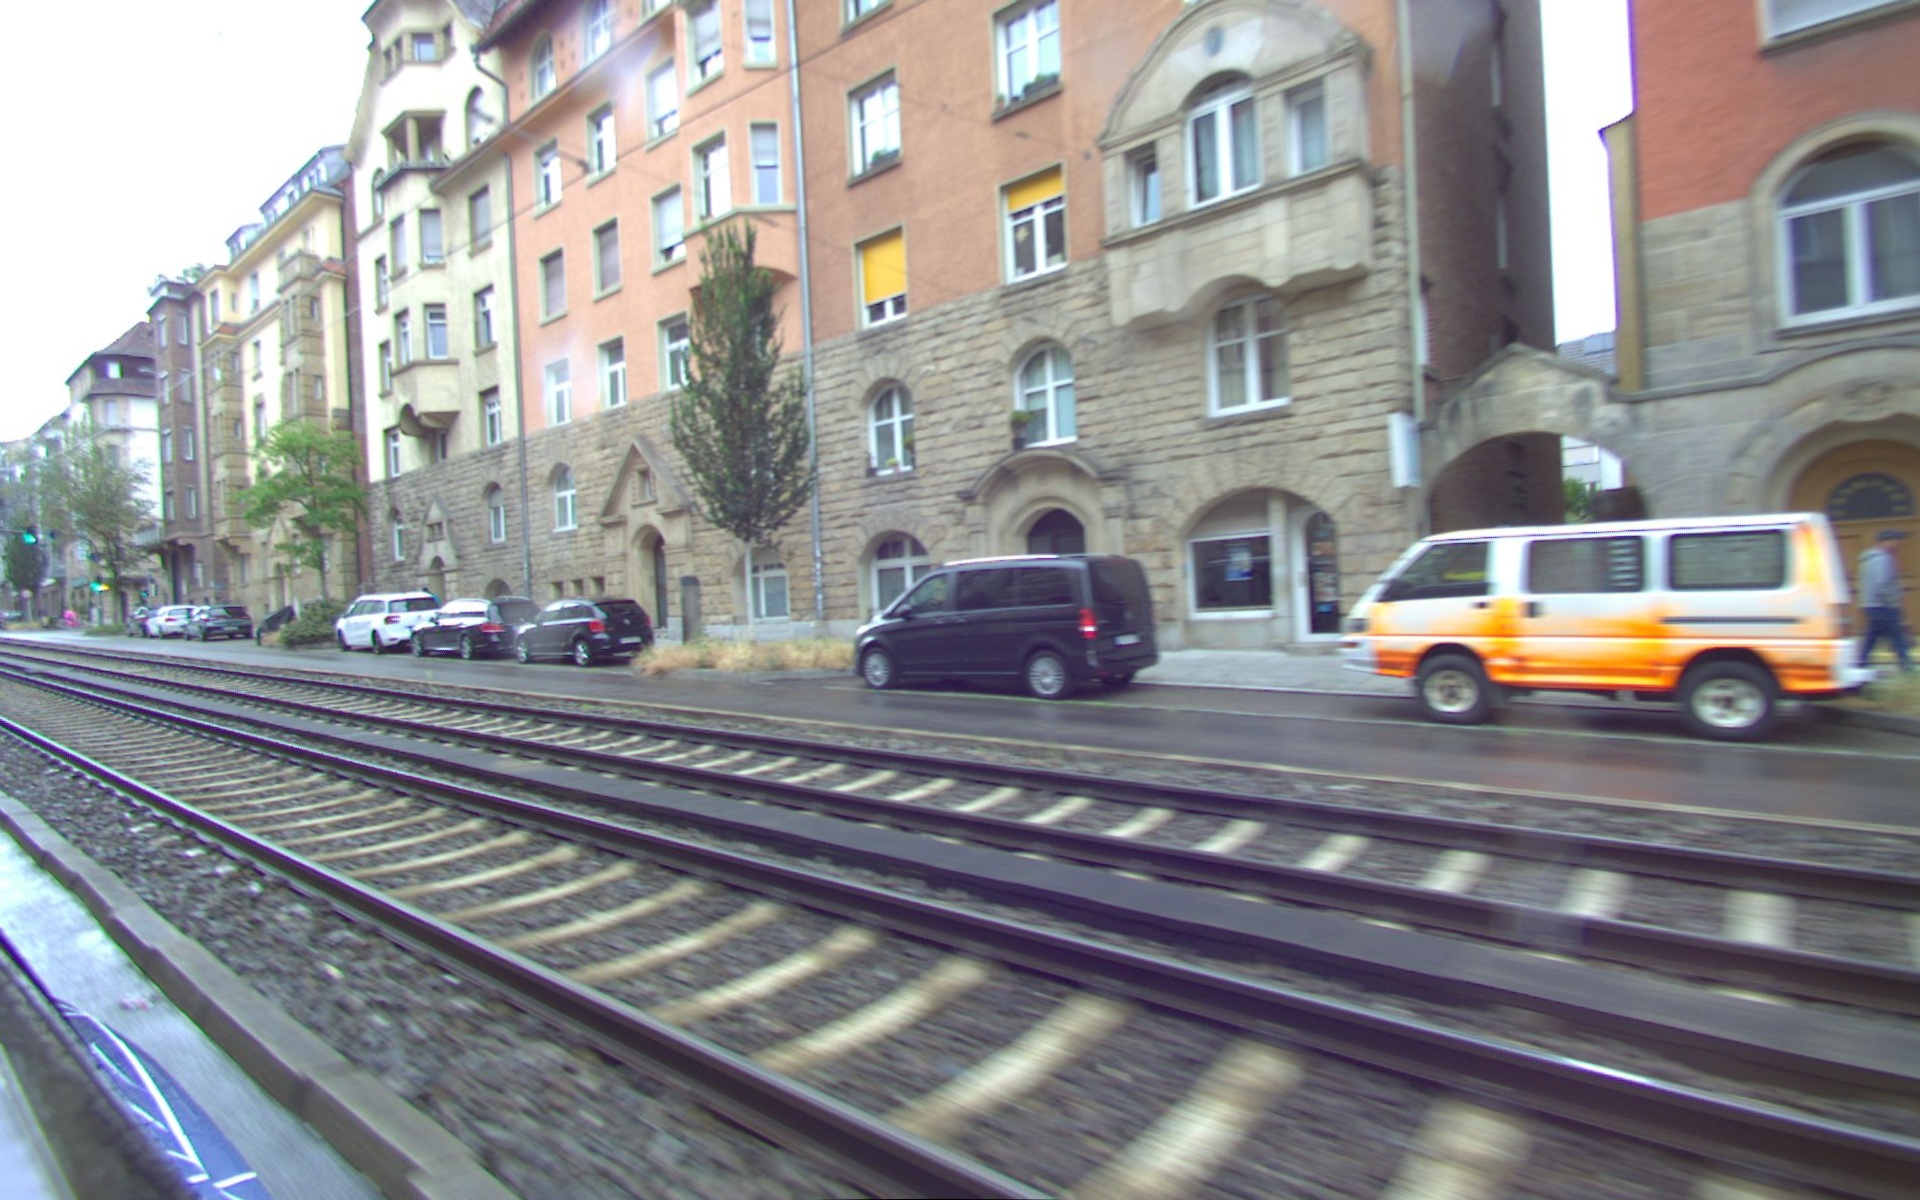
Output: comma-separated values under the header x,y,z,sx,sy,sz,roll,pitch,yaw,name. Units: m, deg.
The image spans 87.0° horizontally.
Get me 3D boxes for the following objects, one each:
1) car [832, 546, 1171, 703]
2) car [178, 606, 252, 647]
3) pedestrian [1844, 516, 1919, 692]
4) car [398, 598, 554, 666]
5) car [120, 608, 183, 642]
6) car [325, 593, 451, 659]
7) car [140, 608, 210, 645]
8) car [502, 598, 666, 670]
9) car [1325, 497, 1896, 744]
x,y,z,sx,sy,sz,roll,pitch,yaw,name
0.464,0.314,14.818,4.829,1.945,1.886,-1,0,40,car
-30.735,1.045,41.726,3.712,1.493,1.695,0,3,42,car
9.751,0.025,10.467,0.892,1.731,0.710,-1,6,41,pedestrian
-12.392,0.756,25.772,4.593,1.502,1.738,-1,2,39,car
-39.097,1.181,48.930,3.712,1.438,1.737,0,3,42,car
-16.691,0.722,29.458,4.256,1.684,1.738,-1,3,40,car
-35.388,1.155,45.603,4.042,1.462,1.737,0,3,42,car
-8.503,0.721,22.781,3.690,1.414,1.739,-1,2,38,car
6.171,0.173,10.063,4.472,1.945,1.711,-1,0,40,car
